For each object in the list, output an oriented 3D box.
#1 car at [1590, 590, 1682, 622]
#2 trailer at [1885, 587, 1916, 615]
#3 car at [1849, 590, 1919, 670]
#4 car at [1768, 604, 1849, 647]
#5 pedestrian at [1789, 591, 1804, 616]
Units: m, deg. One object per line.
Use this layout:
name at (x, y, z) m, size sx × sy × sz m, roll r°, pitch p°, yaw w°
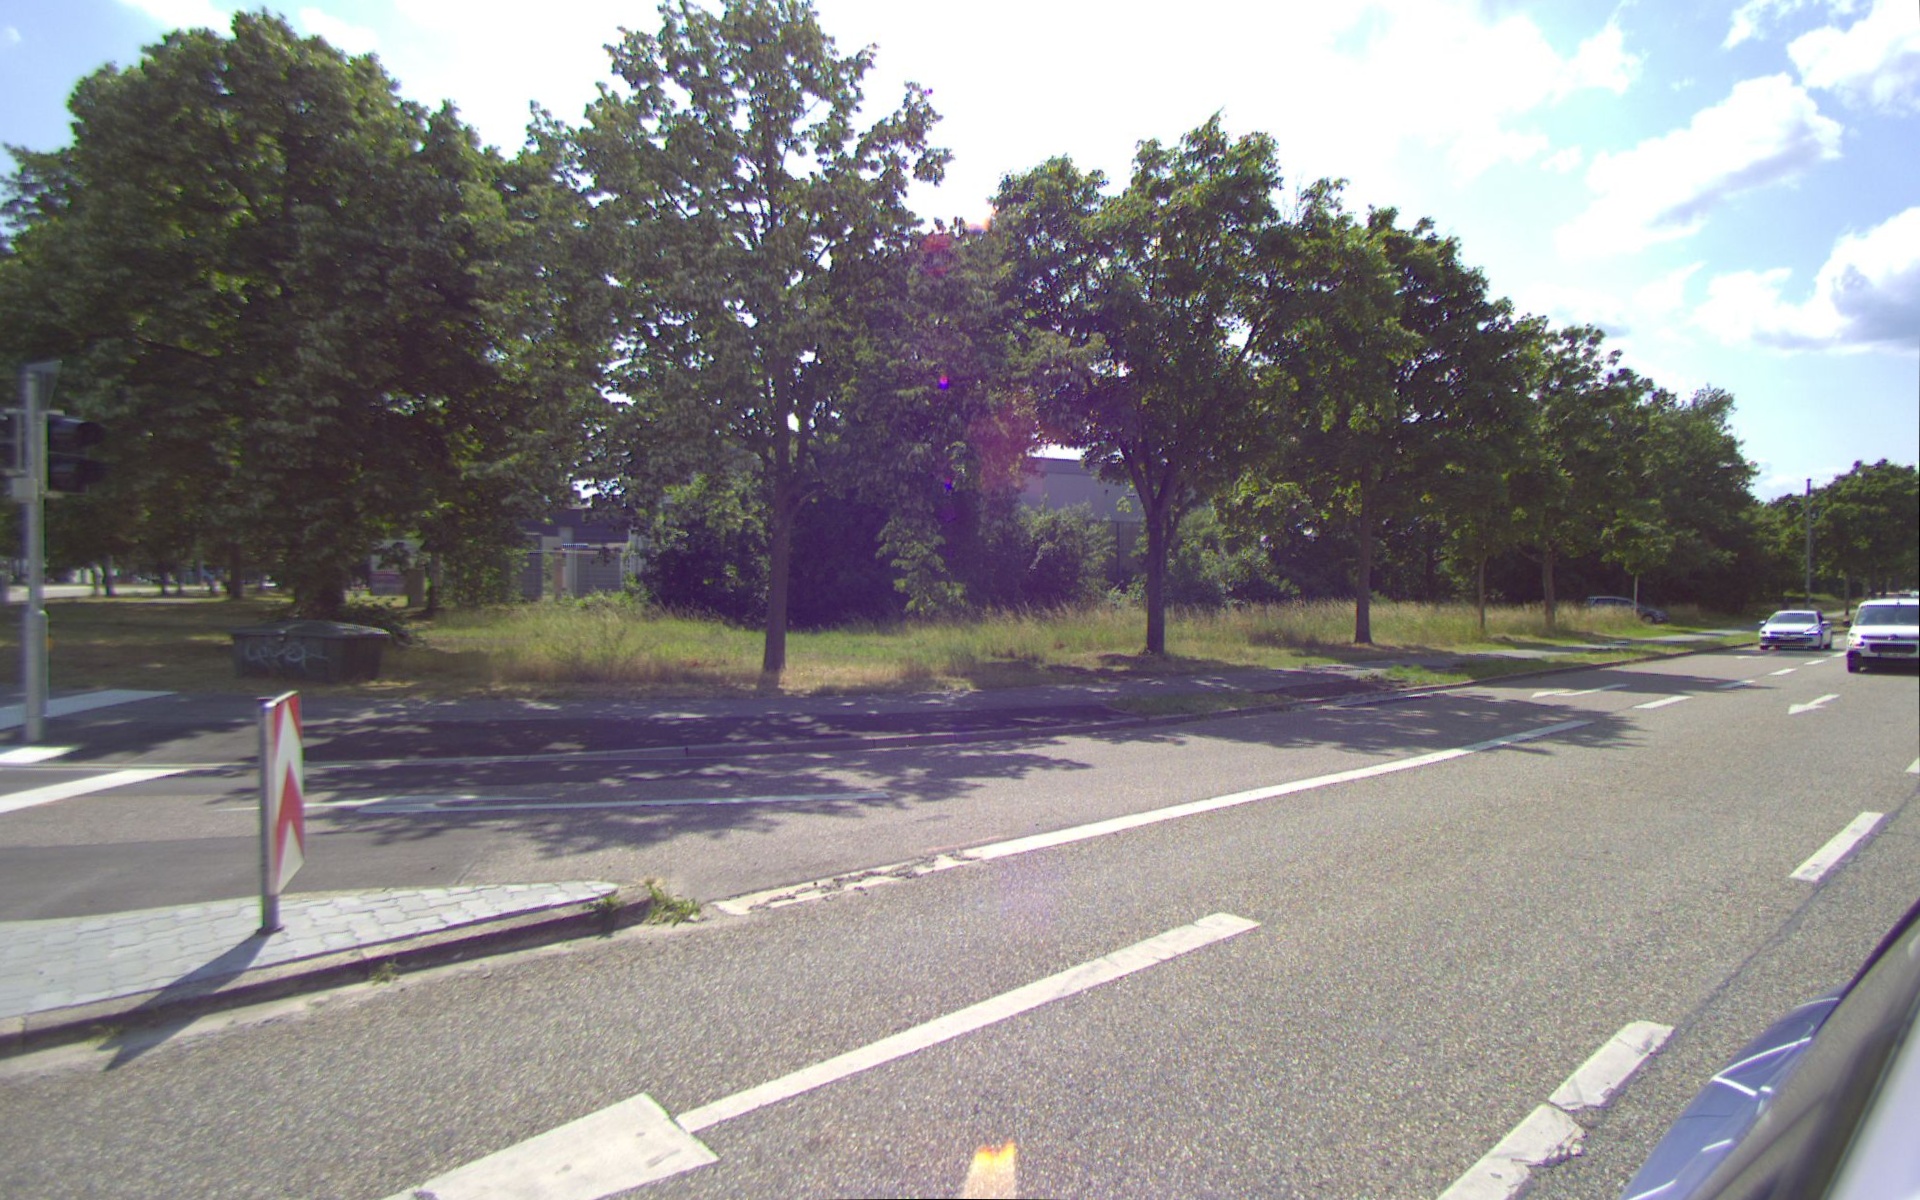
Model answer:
car at (38.925, 0.324, 58.348) m, size 4.163 × 1.511 × 1.756 m, roll 4°, pitch 1°, yaw 43°
trailer at (84.784, 0.038, 91.201) m, size 1.953 × 2.380 × 4.533 m, roll 2°, pitch 2°, yaw 44°
car at (23.331, 0.697, 24.731) m, size 4.636 × 1.808 × 1.932 m, roll 0°, pitch -2°, yaw -43°
car at (31.369, 0.898, 37.393) m, size 4.021 × 1.505 × 1.735 m, roll 0°, pitch 0°, yaw -41°
pedestrian at (61.852, 0.260, 74.841) m, size 0.728 × 1.817 × 0.717 m, roll -1°, pitch -1°, yaw -45°
